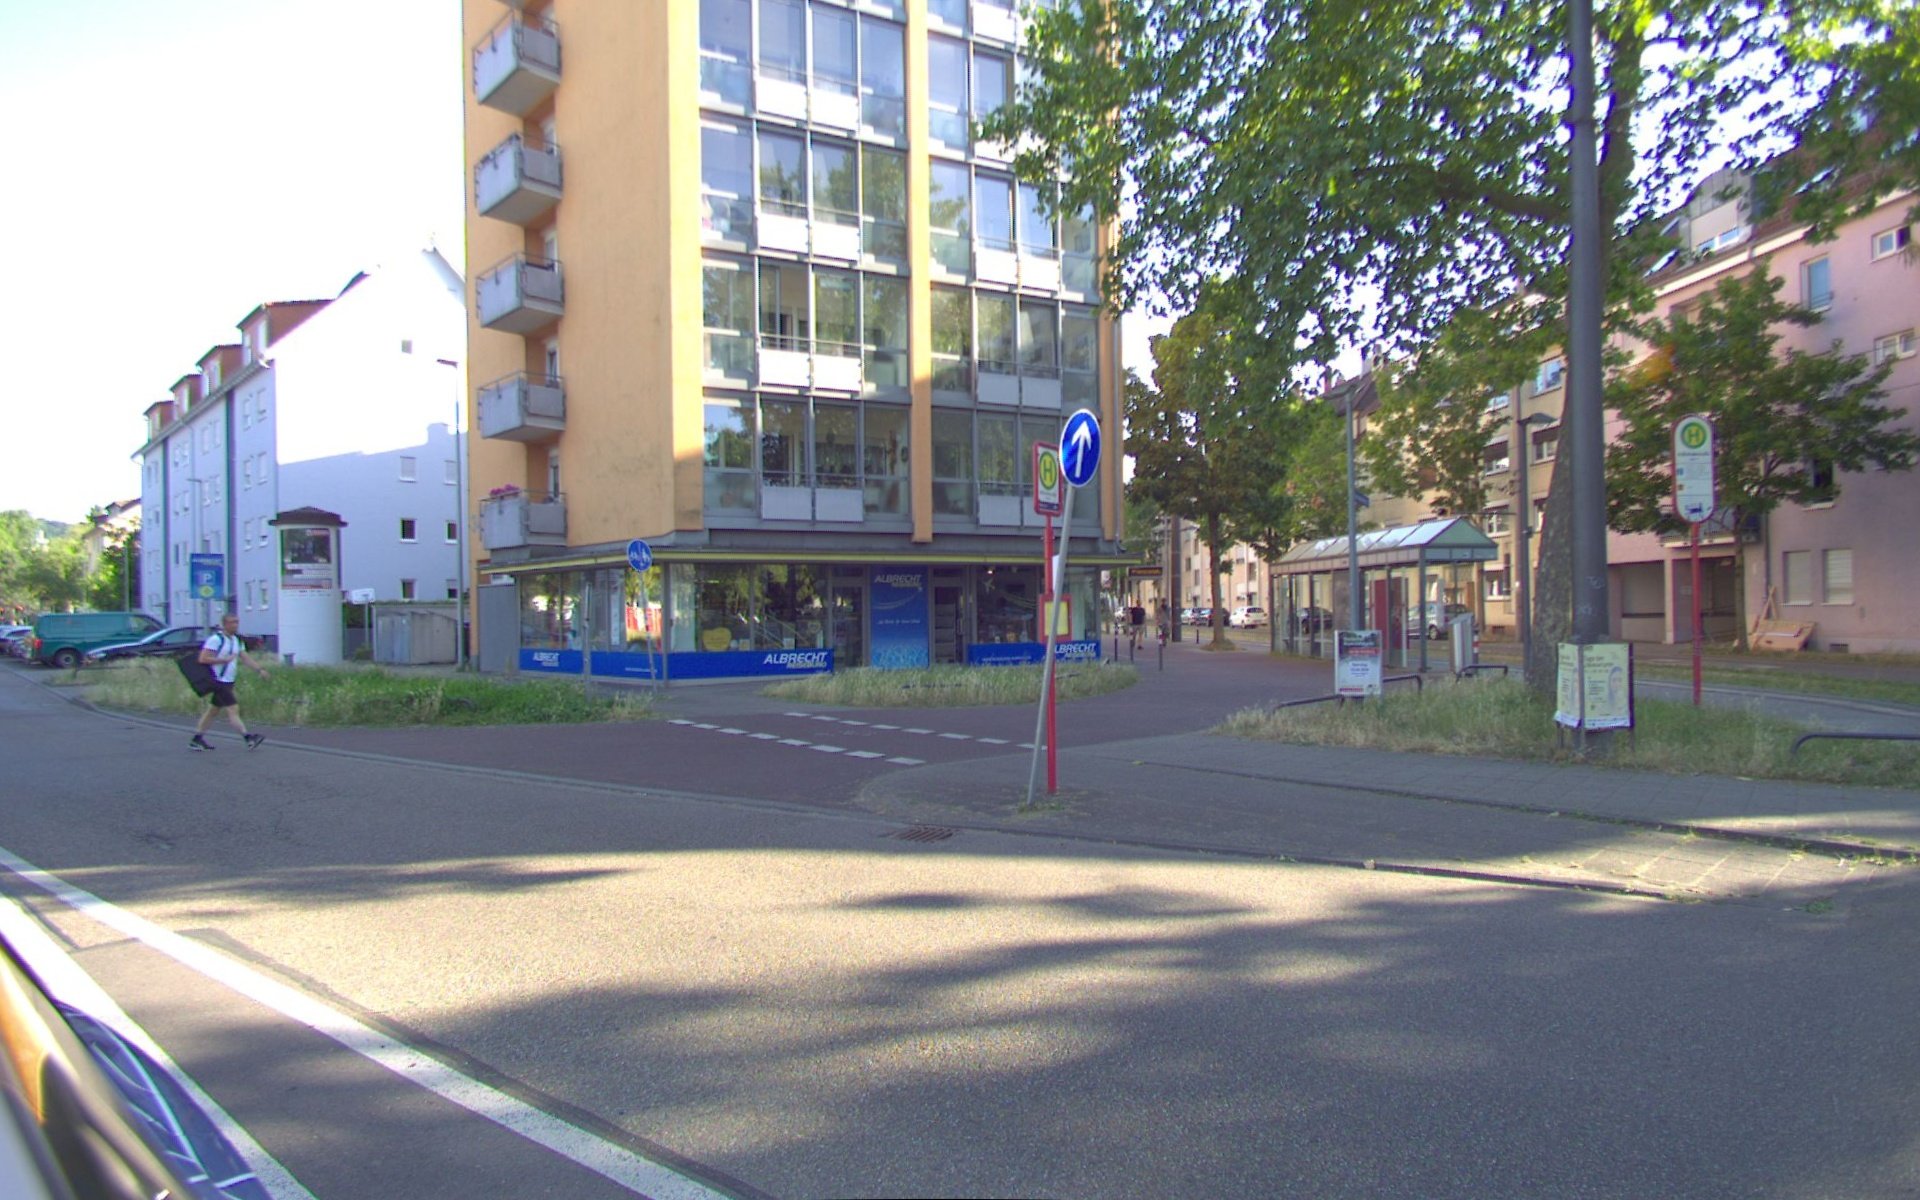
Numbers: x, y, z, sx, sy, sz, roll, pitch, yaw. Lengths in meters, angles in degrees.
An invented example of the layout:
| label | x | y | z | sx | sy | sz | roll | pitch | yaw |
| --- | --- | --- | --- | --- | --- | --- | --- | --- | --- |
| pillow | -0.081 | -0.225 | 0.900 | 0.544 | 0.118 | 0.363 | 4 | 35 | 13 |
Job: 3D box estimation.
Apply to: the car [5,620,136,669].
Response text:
| label | x | y | z | sx | sy | sz | roll | pitch | yaw |
| --- | --- | --- | --- | --- | --- | --- | --- | --- | --- |
| car | -36.870 | 1.811 | 42.015 | 4.003 | 1.829 | 1.938 | -1 | 0 | -44 |

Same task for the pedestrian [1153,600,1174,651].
| label | x | y | z | sx | sy | sz | roll | pitch | yaw |
| --- | --- | --- | --- | --- | --- | --- | --- | --- | --- |
| pedestrian | 7.115 | 0.875 | 35.375 | 0.622 | 1.763 | 0.689 | -1 | 0 | 6 |

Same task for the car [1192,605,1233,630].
| label | x | y | z | sx | sy | sz | roll | pitch | yaw |
| --- | --- | --- | --- | --- | --- | --- | --- | --- | --- |
| car | 18.689 | 1.268 | 75.165 | 1.808 | 1.719 | 4.059 | -1 | 0 | -3 |

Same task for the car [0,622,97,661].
| label | x | y | z | sx | sy | sz | roll | pitch | yaw |
| --- | --- | --- | --- | --- | --- | --- | --- | --- | --- |
| car | -46.130 | 2.042 | 50.869 | 4.061 | 1.785 | 1.758 | -1 | 0 | -44 |

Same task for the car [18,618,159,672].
| label | x | y | z | sx | sy | sz | roll | pitch | yaw |
| --- | --- | --- | --- | --- | --- | --- | --- | --- | --- |
| car | -33.132 | 1.652 | 38.535 | 3.941 | 1.829 | 2.001 | -1 | 0 | -44 |

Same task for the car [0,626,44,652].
| label | x | y | z | sx | sy | sz | roll | pitch | yaw |
| --- | --- | --- | --- | --- | --- | --- | --- | --- | --- |
| car | -63.510 | 2.608 | 66.995 | 4.199 | 1.585 | 1.867 | -1 | 0 | -44 |

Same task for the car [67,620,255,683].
| label | x | y | z | sx | sy | sz | roll | pitch | yaw |
| --- | --- | --- | --- | --- | --- | --- | --- | --- | --- |
| car | -24.284 | 1.512 | 30.870 | 4.361 | 1.674 | 2.003 | -1 | 0 | -41 |

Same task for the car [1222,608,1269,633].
| label | x | y | z | sx | sy | sz | roll | pitch | yaw |
| --- | --- | --- | --- | --- | --- | --- | --- | --- | --- |
| car | 19.157 | 1.348 | 68.060 | 1.741 | 1.588 | 4.049 | -1 | 0 | -3 |

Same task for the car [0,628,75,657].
| label | x | y | z | sx | sy | sz | roll | pitch | yaw |
| --- | --- | --- | --- | --- | --- | --- | --- | --- | --- |
| car | -55.673 | 2.506 | 60.383 | 4.199 | 1.585 | 1.867 | -1 | 0 | -44 |

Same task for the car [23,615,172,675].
| label | x | y | z | sx | sy | sz | roll | pitch | yaw |
| --- | --- | --- | --- | --- | --- | --- | --- | --- | --- |
| car | -31.227 | 1.561 | 36.692 | 2.001 | 1.962 | 3.942 | -1 | 0 | 44 |

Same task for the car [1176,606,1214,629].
| label | x | y | z | sx | sy | sz | roll | pitch | yaw |
| --- | --- | --- | --- | --- | --- | --- | --- | --- | --- |
| car | 18.627 | 1.353 | 80.354 | 1.771 | 1.719 | 4.170 | -1 | 0 | -3 |

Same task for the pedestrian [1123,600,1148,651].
| label | x | y | z | sx | sy | sz | roll | pitch | yaw |
| --- | --- | --- | --- | --- | --- | --- | --- | --- | --- |
| pedestrian | 6.176 | 0.887 | 35.565 | 0.803 | 1.763 | 0.538 | -1 | 0 | 6 |

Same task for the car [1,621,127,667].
| label | x | y | z | sx | sy | sz | roll | pitch | yaw |
| --- | --- | --- | --- | --- | --- | --- | --- | --- | --- |
| car | -38.840 | 1.869 | 43.933 | 4.016 | 1.765 | 1.900 | -1 | 0 | -44 |

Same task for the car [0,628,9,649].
| label | x | y | z | sx | sy | sz | roll | pitch | yaw |
| --- | --- | --- | --- | --- | --- | --- | --- | --- | --- |
| car | -74.774 | 2.992 | 76.963 | 3.490 | 1.585 | 1.867 | -1 | 0 | -44 |

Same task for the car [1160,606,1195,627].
| label | x | y | z | sx | sy | sz | roll | pitch | yaw |
| --- | --- | --- | --- | --- | --- | --- | --- | --- | --- |
| car | 18.415 | 1.395 | 85.808 | 1.830 | 1.719 | 4.170 | -1 | 0 | -3 |

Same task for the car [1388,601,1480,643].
| label | x | y | z | sx | sy | sz | roll | pitch | yaw |
| --- | --- | --- | --- | --- | --- | --- | --- | --- | --- |
| car | 20.734 | 0.910 | 44.440 | 1.911 | 1.719 | 4.115 | -1 | 0 | -3 |

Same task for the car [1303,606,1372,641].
| label | x | y | z | sx | sy | sz | roll | pitch | yaw |
| --- | --- | --- | --- | --- | --- | --- | --- | --- | --- |
| car | 19.903 | 1.204 | 53.607 | 1.911 | 1.719 | 4.115 | -1 | 0 | -3 |

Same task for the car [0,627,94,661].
| label | x | y | z | sx | sy | sz | roll | pitch | yaw |
| --- | --- | --- | --- | --- | --- | --- | --- | --- | --- |
| car | -48.133 | 2.278 | 52.959 | 4.199 | 1.585 | 1.867 | -1 | 0 | -44 |

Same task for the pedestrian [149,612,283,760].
| label | x | y | z | sx | sy | sz | roll | pitch | yaw |
| --- | --- | --- | --- | --- | --- | --- | --- | --- | --- |
| pedestrian | -9.264 | 1.031 | 12.625 | 1.080 | 1.750 | 0.897 | -1 | 0 | 19 |

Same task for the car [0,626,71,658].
| label | x | y | z | sx | sy | sz | roll | pitch | yaw |
| --- | --- | --- | --- | --- | --- | --- | --- | --- | --- |
| car | -55.806 | 2.476 | 60.437 | 4.016 | 1.765 | 1.900 | -1 | 0 | -44 |

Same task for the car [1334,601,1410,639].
| label | x | y | z | sx | sy | sz | roll | pitch | yaw |
| --- | --- | --- | --- | --- | --- | --- | --- | --- | --- |
| car | 19.893 | 0.920 | 48.995 | 1.911 | 1.719 | 3.827 | -1 | 0 | -3 |

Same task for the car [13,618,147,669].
| label | x | y | z | sx | sy | sz | roll | pitch | yaw |
| --- | --- | --- | --- | --- | --- | --- | --- | --- | --- |
| car | -35.132 | 1.678 | 40.437 | 3.941 | 1.829 | 2.001 | -1 | 0 | -44 |
